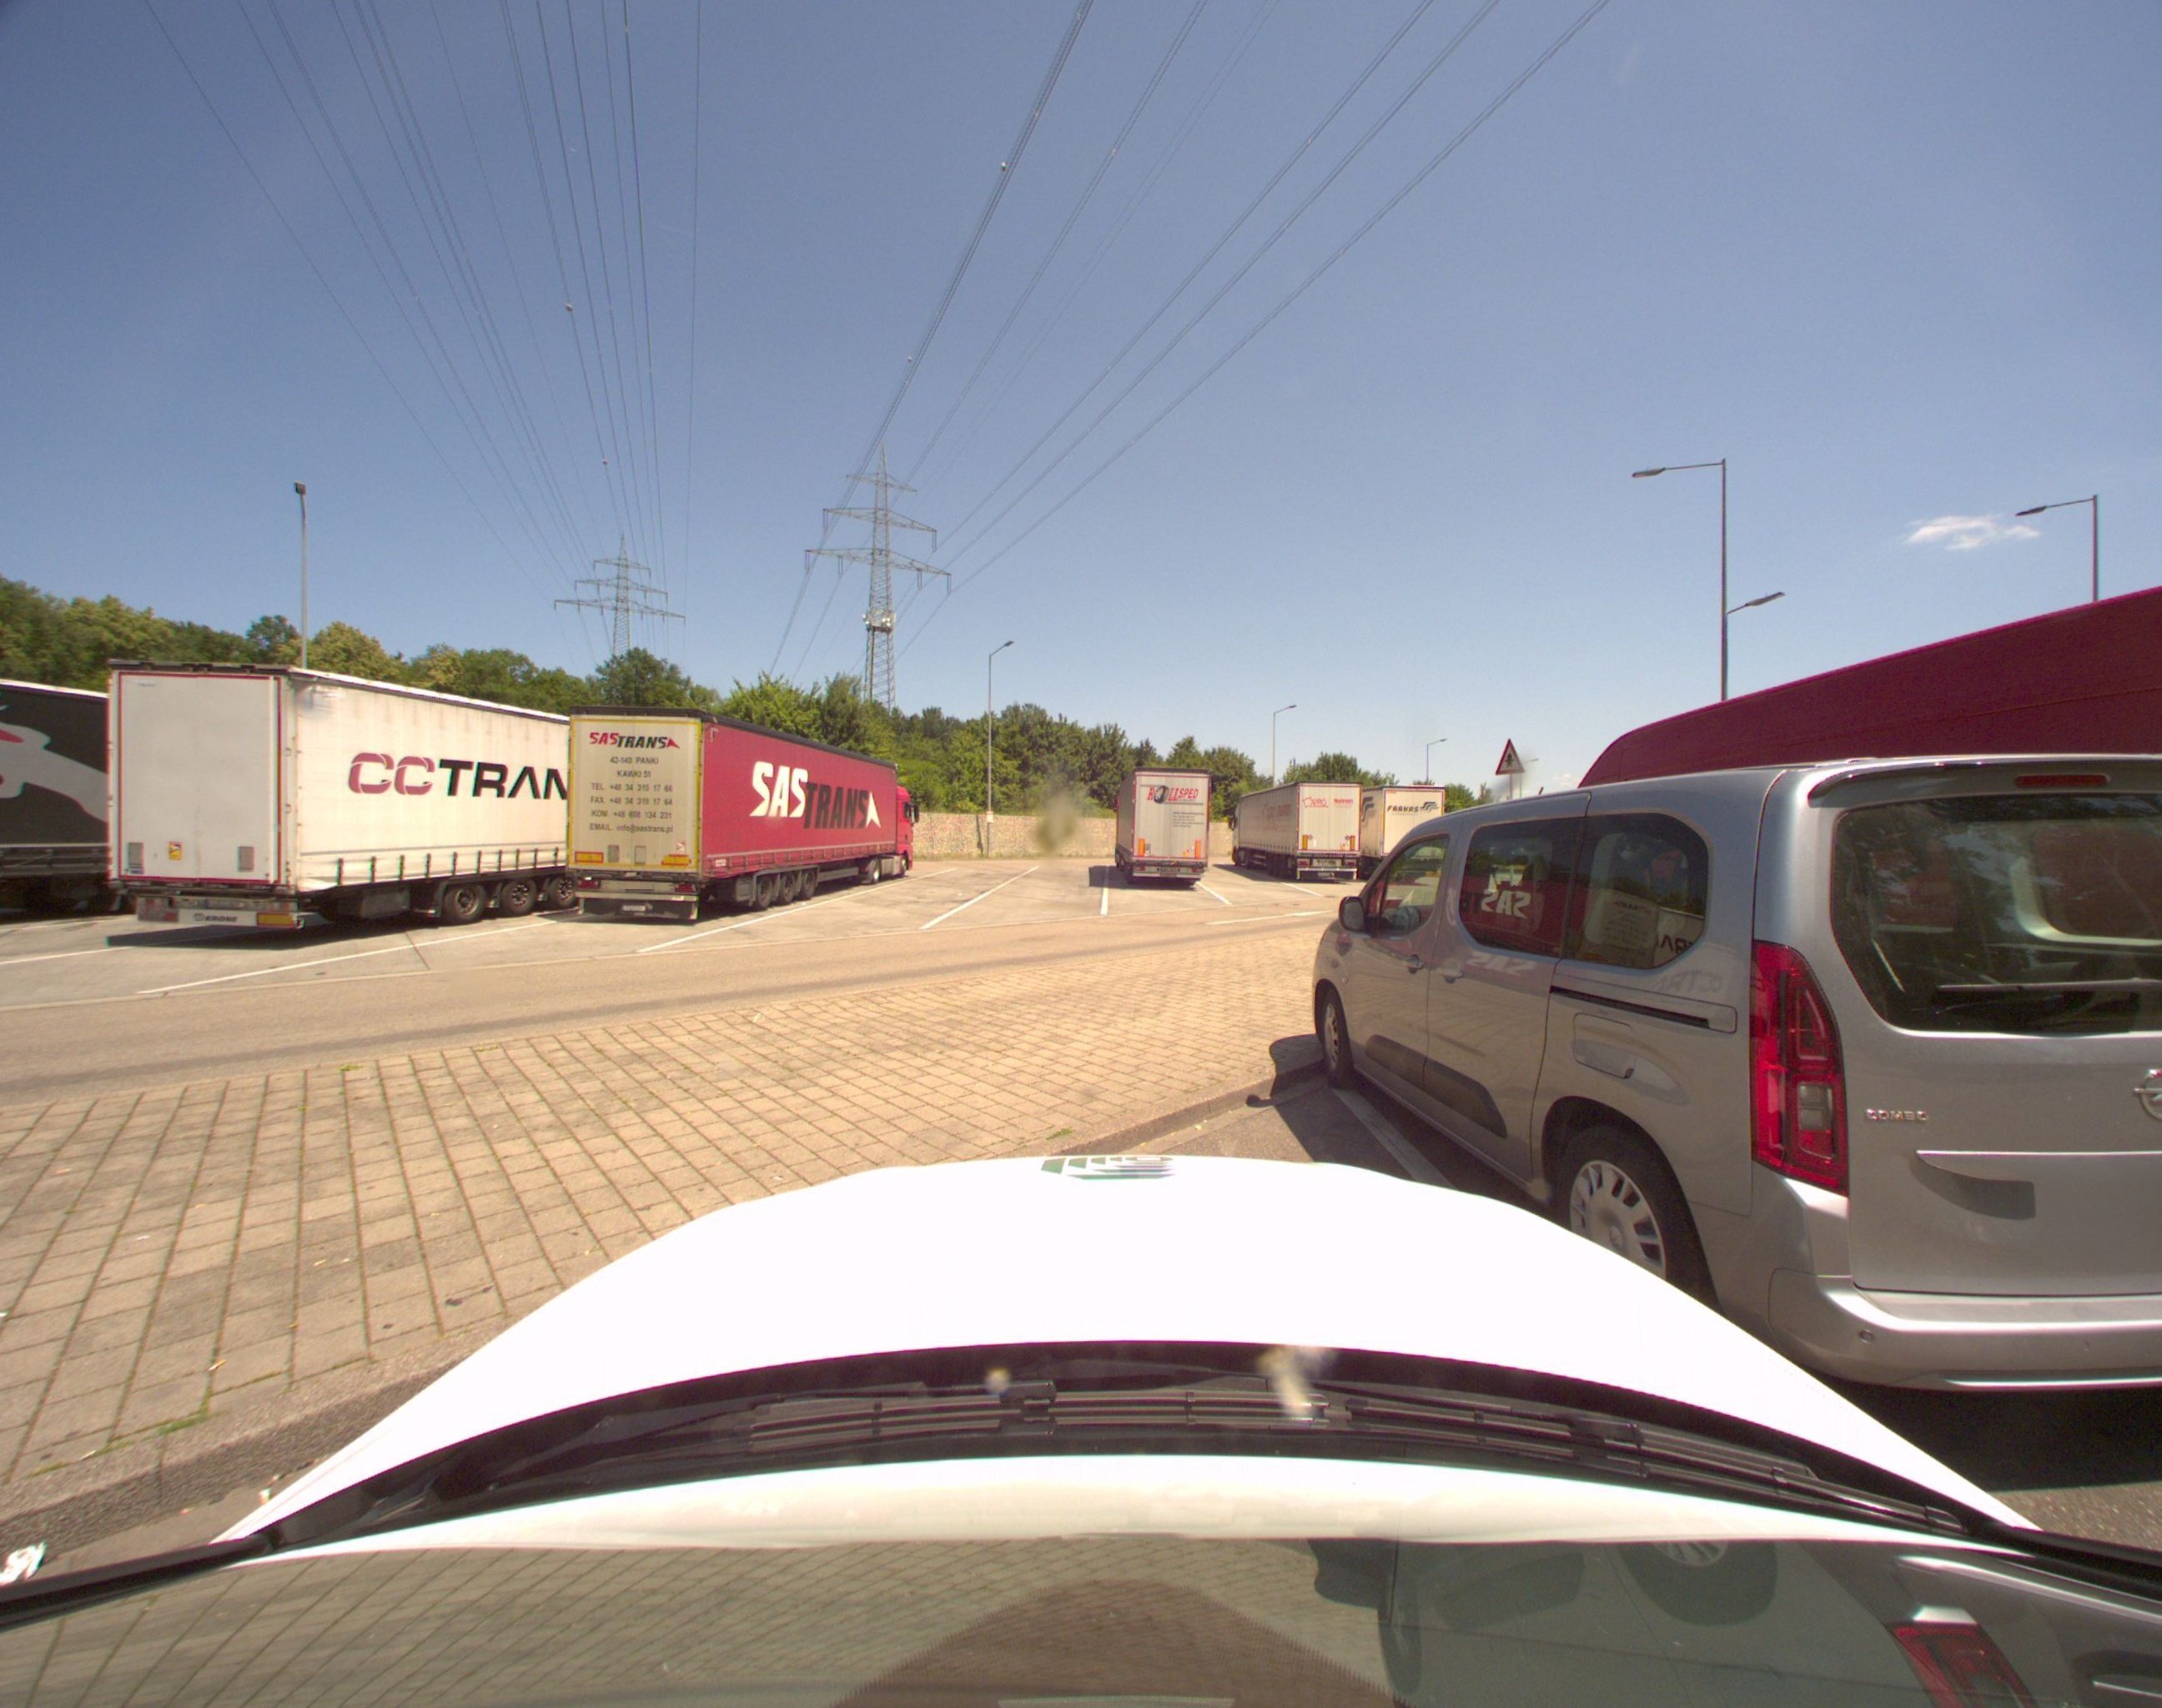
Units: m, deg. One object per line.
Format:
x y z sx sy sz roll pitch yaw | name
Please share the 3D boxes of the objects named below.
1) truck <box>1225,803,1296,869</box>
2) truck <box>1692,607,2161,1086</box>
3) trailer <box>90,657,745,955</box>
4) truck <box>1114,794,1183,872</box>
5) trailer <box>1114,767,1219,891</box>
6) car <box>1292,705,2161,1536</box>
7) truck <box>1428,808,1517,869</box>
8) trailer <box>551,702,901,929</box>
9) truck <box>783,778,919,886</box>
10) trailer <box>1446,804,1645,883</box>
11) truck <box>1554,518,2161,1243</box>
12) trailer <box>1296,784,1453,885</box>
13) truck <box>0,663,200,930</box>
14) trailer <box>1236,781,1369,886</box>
10.188 -1.080 46.786 2.852 3.521 5.903 1 2 2 | truck
7.994 -0.041 6.496 2.444 2.912 5.663 -1 -1 7 | truck
-12.127 -0.915 18.373 2.785 4.084 14.139 1 2 2 | trailer
3.226 -1.085 40.629 3.092 3.566 5.903 1 2 2 | truck
3.062 -1.069 33.735 3.122 3.989 14.401 1 2 1 | trailer
2.493 0.570 3.923 1.864 1.863 4.176 1 1 0 | car
24.351 -1.011 51.028 2.792 3.521 5.903 1 2 2 | truck
-8.063 -0.951 21.943 2.781 4.084 14.139 1 2 2 | trailer
-7.816 -0.788 28.513 2.840 3.327 5.903 1 2 2 | truck
24.096 -0.739 43.797 2.801 3.507 14.403 1 2 2 | trailer
5.139 0.115 4.947 1.968 2.622 5.314 0 -1 7 | truck
13.600 -1.041 39.649 2.801 3.989 14.403 1 2 2 | trailer
-18.538 -0.973 13.820 2.726 4.239 3.997 1 2 2 | truck
9.927 -1.050 38.685 2.801 3.989 14.403 1 2 2 | trailer
